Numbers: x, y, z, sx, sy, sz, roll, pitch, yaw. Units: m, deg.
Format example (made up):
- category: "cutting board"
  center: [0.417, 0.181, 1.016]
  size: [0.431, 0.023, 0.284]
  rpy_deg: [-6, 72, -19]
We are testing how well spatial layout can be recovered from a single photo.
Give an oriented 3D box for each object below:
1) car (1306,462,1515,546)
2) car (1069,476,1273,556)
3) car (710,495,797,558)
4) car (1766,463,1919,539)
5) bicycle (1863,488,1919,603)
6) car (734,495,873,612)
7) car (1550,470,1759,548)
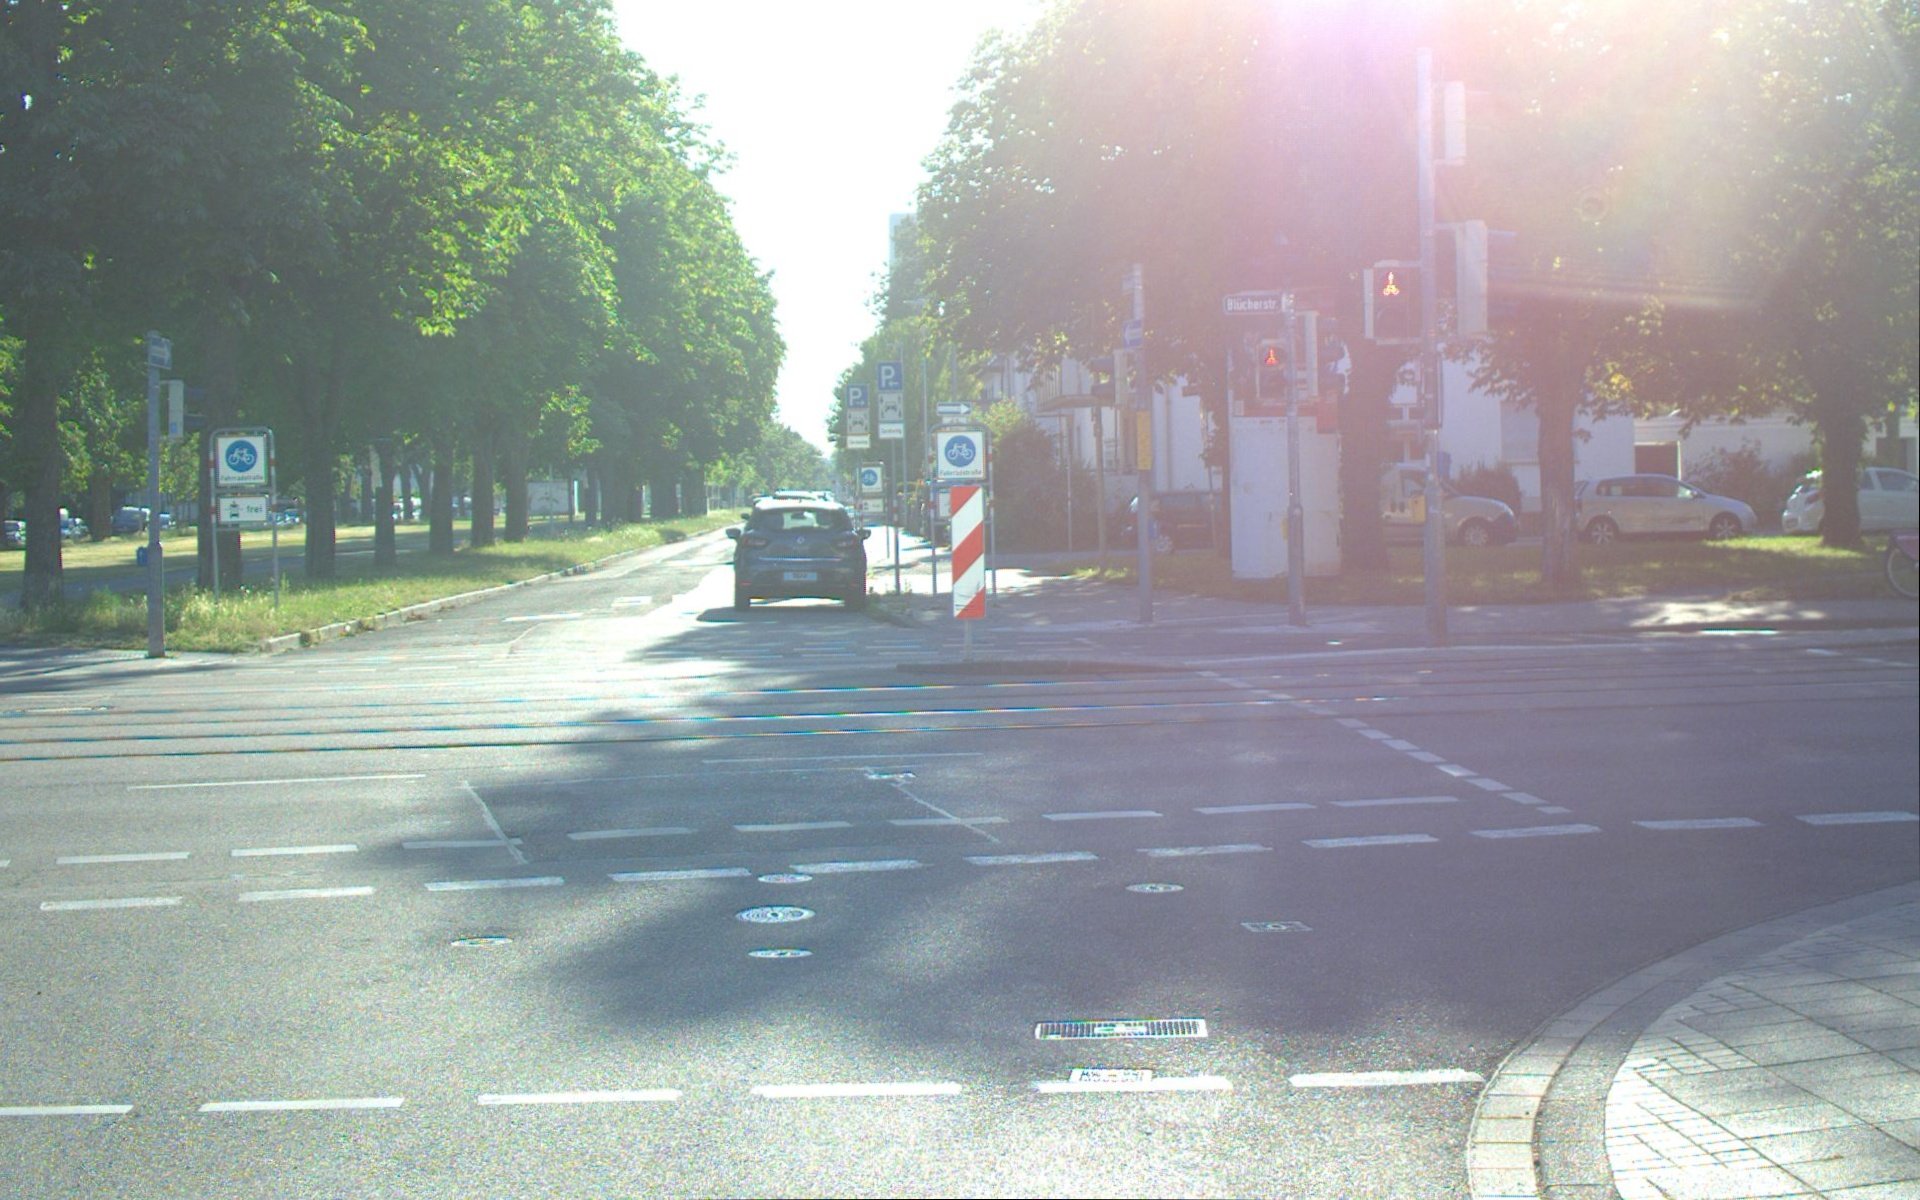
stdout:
- category: "car"
  center: [8.735, -1.870, 66.836]
  size: [3.779, 1.520, 1.744]
  rpy_deg: [-1, 3, -2]
- category: "car"
  center: [4.064, -1.636, 66.517]
  size: [3.779, 1.422, 1.744]
  rpy_deg: [-1, 3, -2]
- category: "car"
  center: [-4.746, -1.717, 79.282]
  size: [1.845, 1.389, 3.829]
  rpy_deg: [-1, 2, -1]
- category: "car"
  center: [17.977, -1.951, 67.542]
  size: [3.844, 1.422, 1.598]
  rpy_deg: [-1, 2, -6]
- category: "bicycle"
  center: [10.100, -0.563, 34.384]
  size: [1.954, 1.128, 0.620]
  rpy_deg: [-1, 2, 1]
- category: "car"
  center: [-2.037, -0.645, 45.425]
  size: [1.641, 1.446, 3.307]
  rpy_deg: [-1, 2, 0]
- category: "car"
  center: [13.475, -1.769, 66.777]
  size: [3.662, 1.422, 1.532]
  rpy_deg: [-1, 2, -6]
